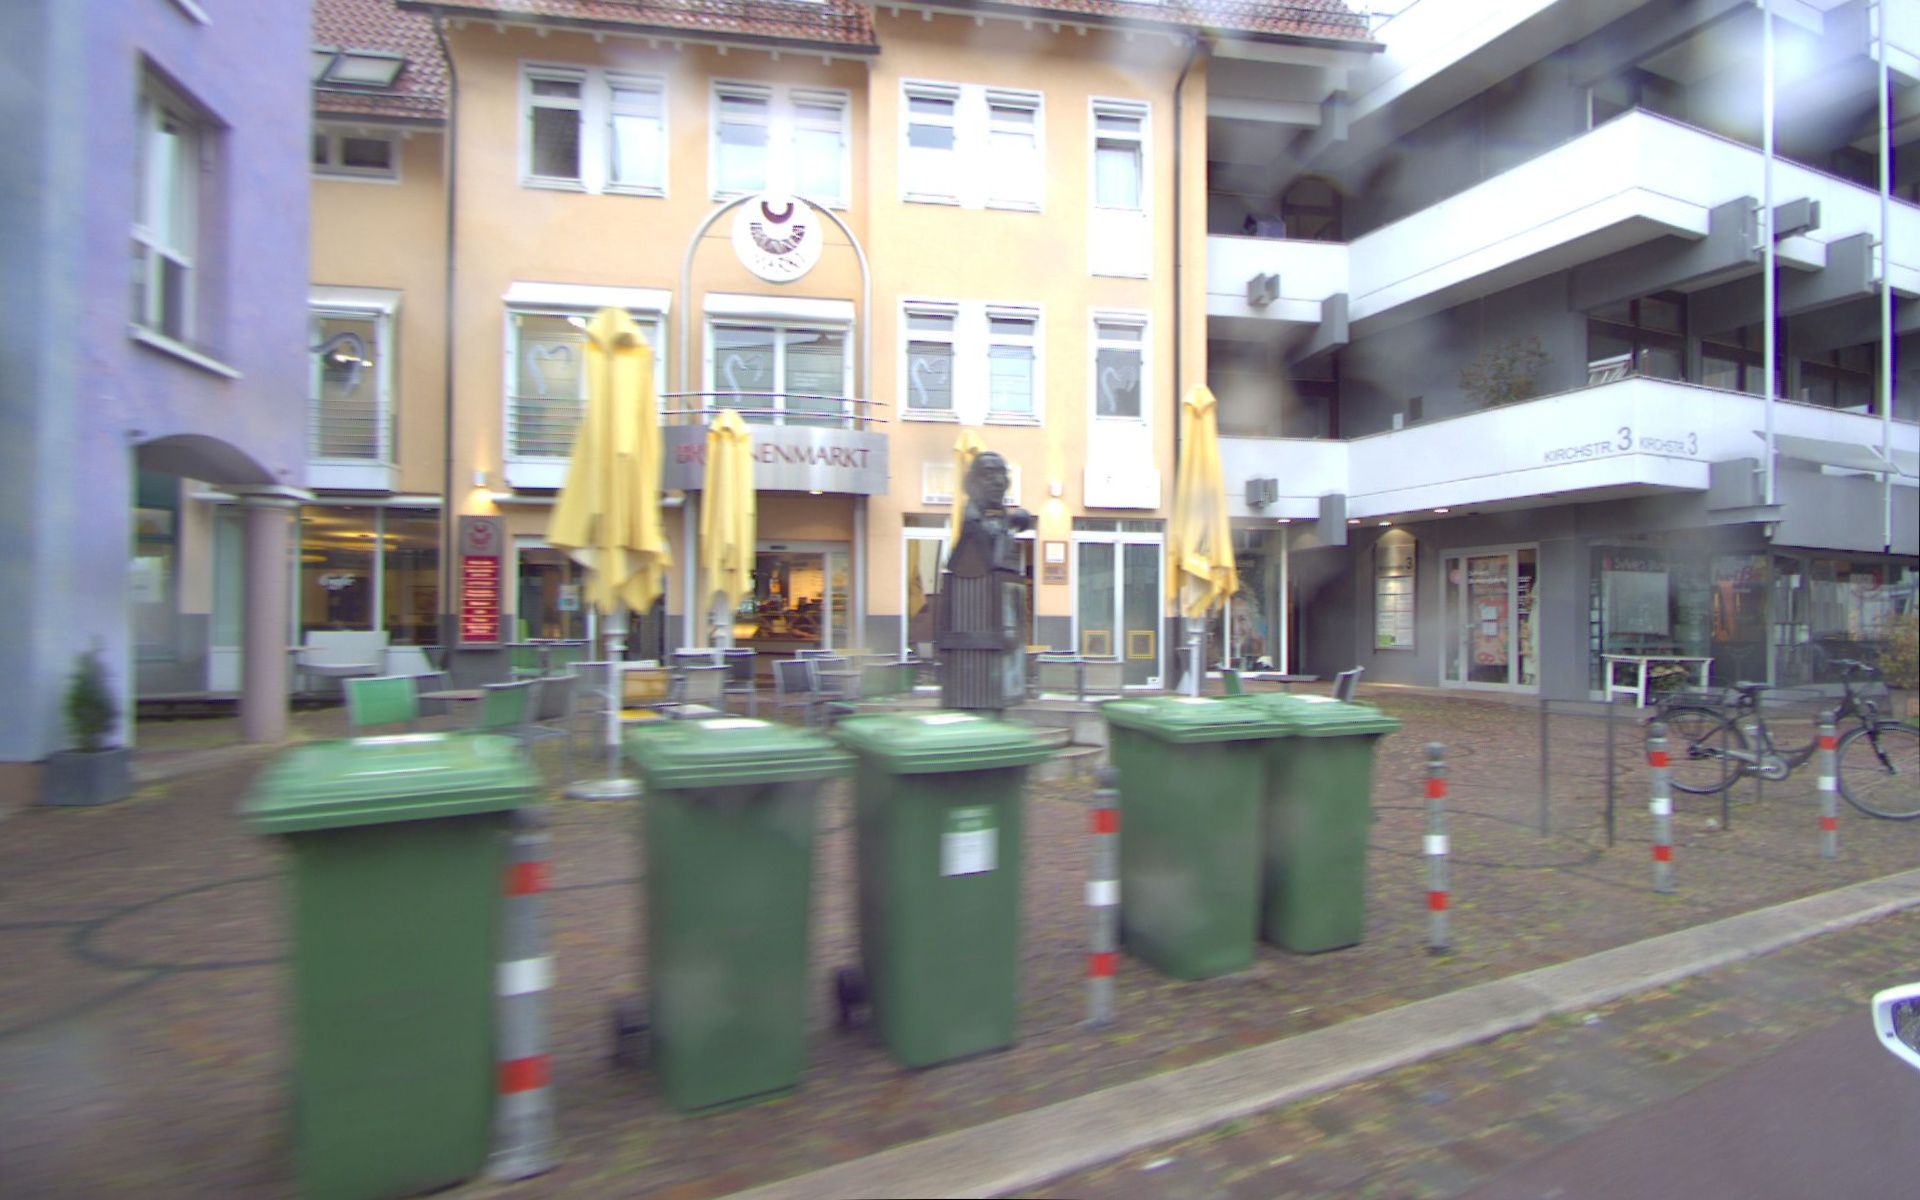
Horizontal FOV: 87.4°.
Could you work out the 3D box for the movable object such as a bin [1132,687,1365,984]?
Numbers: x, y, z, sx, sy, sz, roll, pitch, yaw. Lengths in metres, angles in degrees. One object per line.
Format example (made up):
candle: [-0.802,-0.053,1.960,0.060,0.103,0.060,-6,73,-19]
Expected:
movable object such as a bin: [1.214,0.930,4.265,0.662,1.056,0.682,1,-1,-33]

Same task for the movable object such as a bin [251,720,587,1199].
movable object such as a bin: [-1.384,0.914,2.579,0.662,1.120,0.682,1,-1,-33]

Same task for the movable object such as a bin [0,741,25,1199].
movable object such as a bin: [-2.330,0.874,1.914,0.662,1.095,0.682,1,-1,-33]

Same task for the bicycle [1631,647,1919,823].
bicycle: [6.358,0.994,7.898,0.441,1.179,1.729,4,-2,-43]

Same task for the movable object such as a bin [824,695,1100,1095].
movable object such as a bin: [-0.007,0.899,3.383,0.662,1.088,0.682,1,-1,-33]

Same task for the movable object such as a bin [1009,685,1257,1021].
movable object such as a bin: [0.660,0.904,3.908,0.662,1.091,0.682,1,-1,-33]

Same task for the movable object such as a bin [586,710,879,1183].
movable object such as a bin: [-0.702,0.933,3.032,0.662,1.120,0.682,1,-1,-33]

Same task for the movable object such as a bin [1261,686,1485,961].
movable object such as a bin: [1.860,0.948,4.548,0.662,1.053,0.682,1,-1,-33]
